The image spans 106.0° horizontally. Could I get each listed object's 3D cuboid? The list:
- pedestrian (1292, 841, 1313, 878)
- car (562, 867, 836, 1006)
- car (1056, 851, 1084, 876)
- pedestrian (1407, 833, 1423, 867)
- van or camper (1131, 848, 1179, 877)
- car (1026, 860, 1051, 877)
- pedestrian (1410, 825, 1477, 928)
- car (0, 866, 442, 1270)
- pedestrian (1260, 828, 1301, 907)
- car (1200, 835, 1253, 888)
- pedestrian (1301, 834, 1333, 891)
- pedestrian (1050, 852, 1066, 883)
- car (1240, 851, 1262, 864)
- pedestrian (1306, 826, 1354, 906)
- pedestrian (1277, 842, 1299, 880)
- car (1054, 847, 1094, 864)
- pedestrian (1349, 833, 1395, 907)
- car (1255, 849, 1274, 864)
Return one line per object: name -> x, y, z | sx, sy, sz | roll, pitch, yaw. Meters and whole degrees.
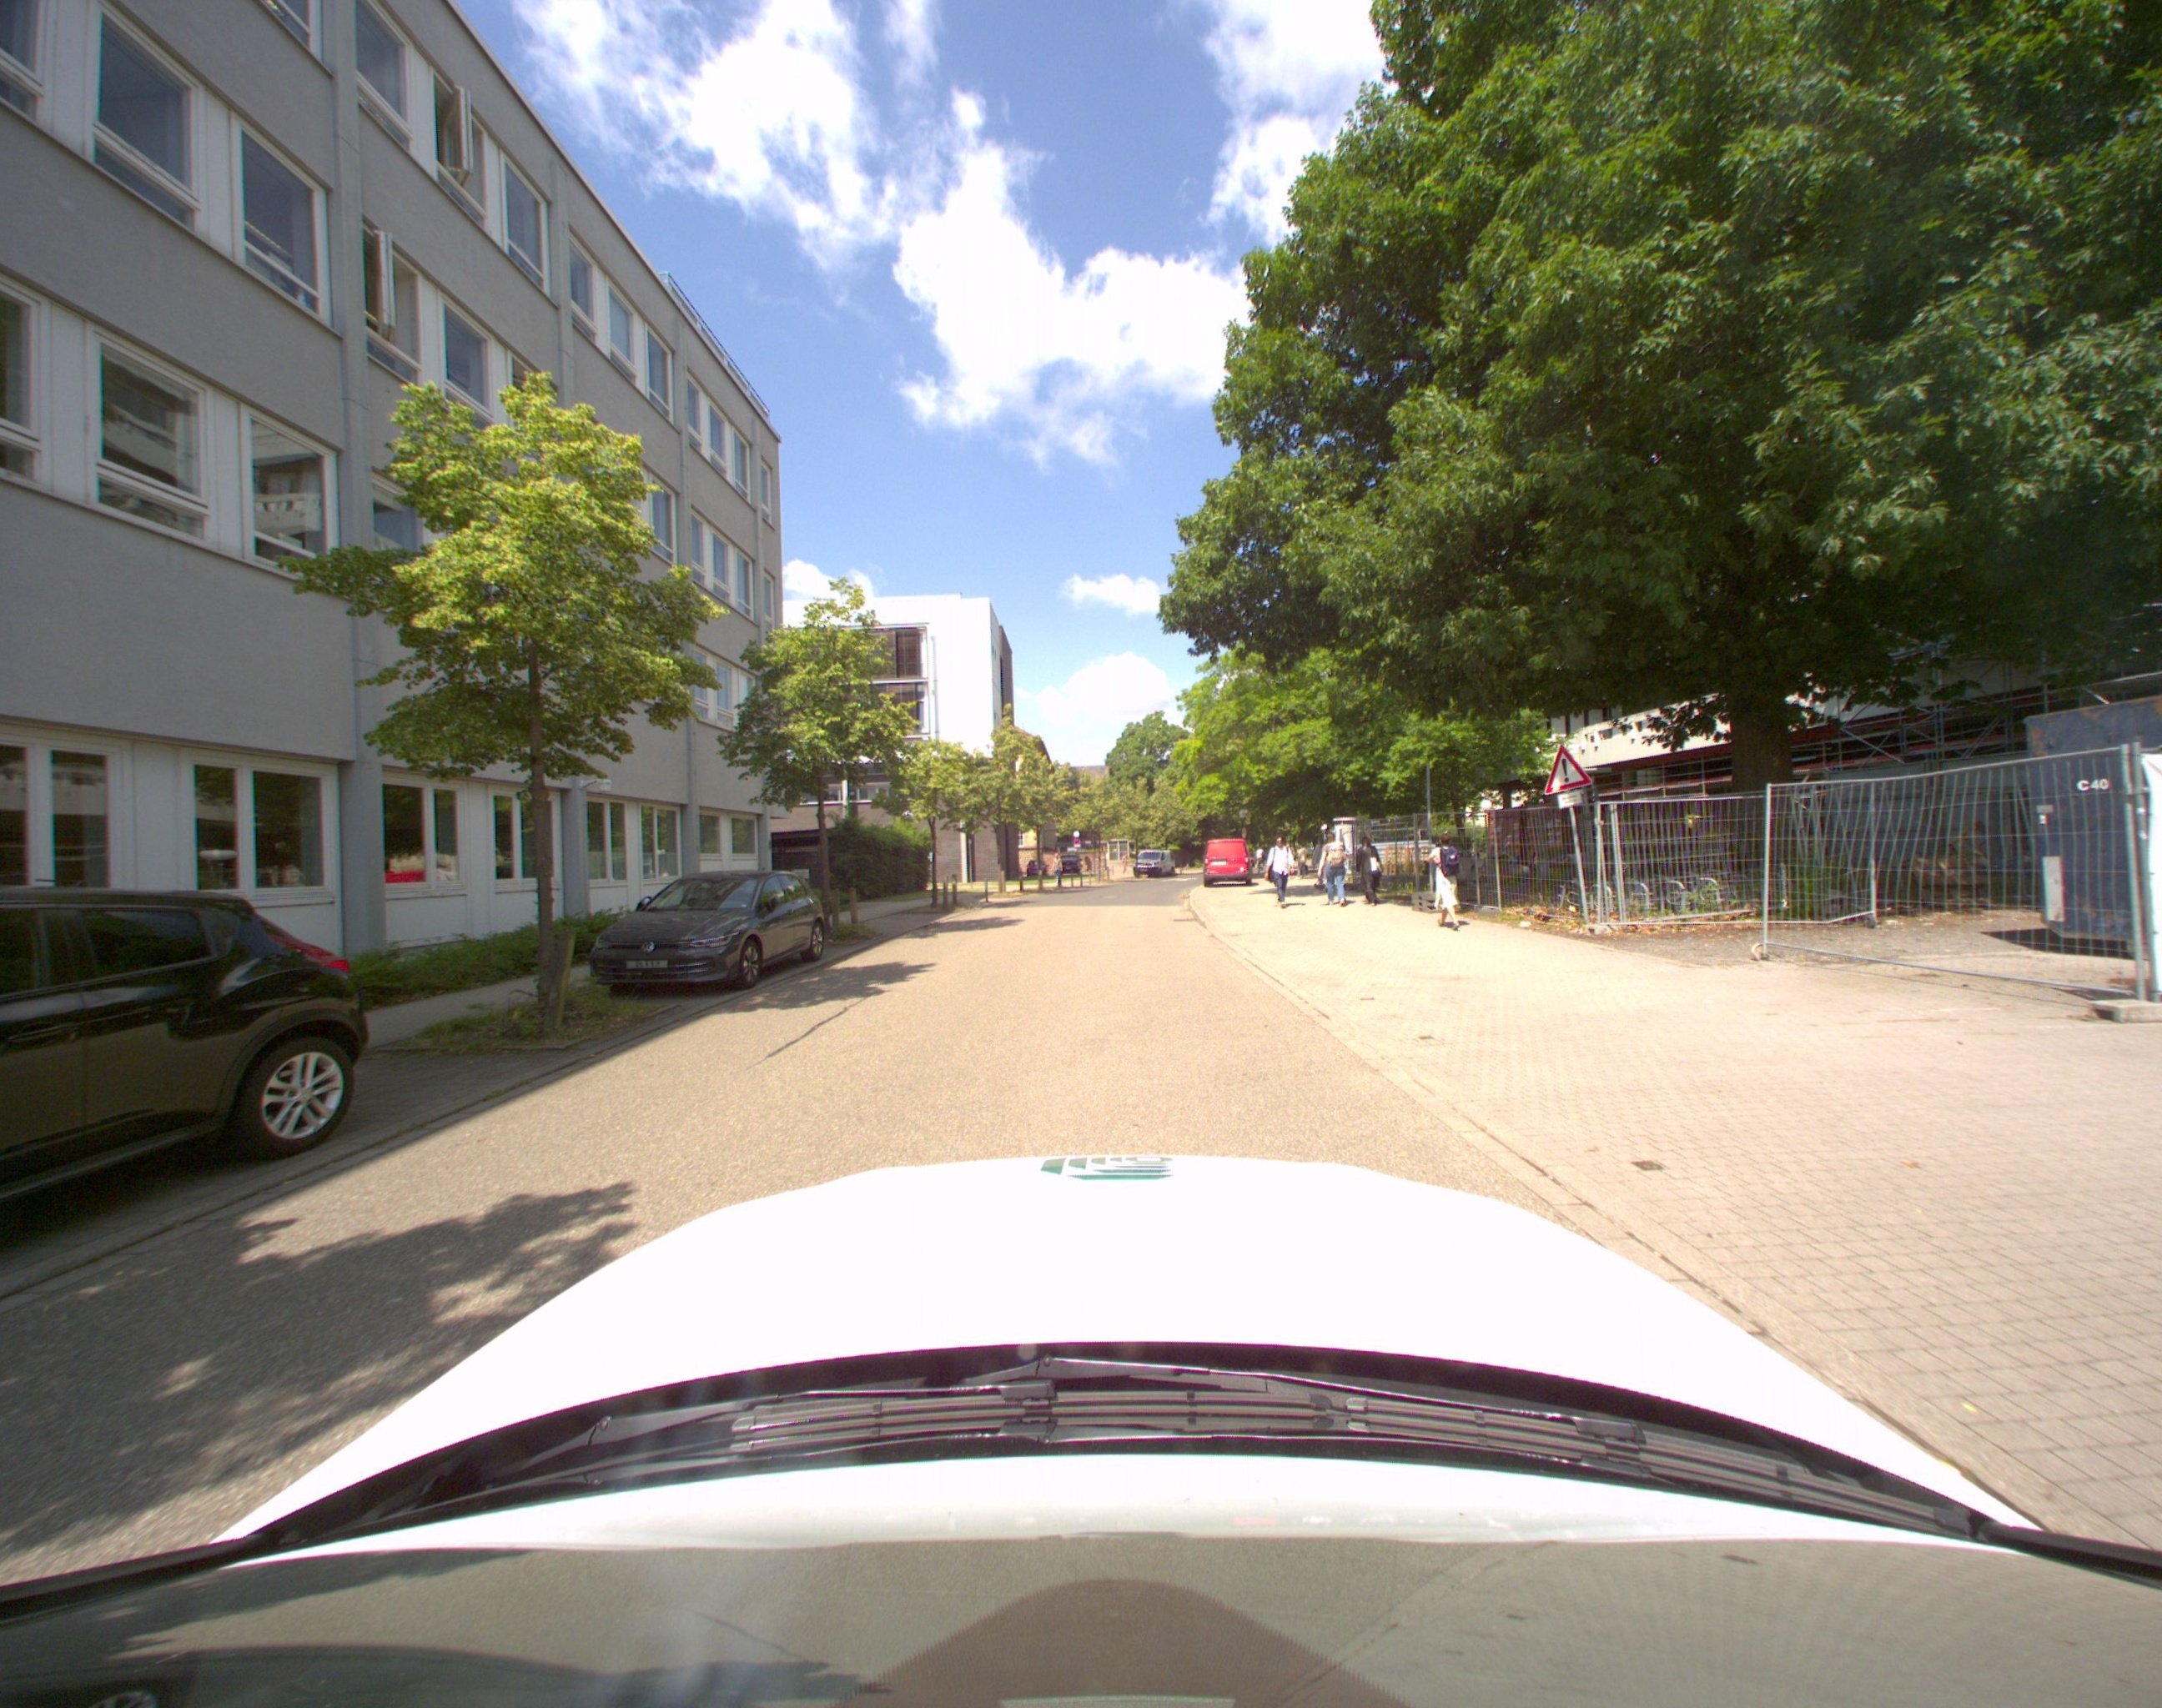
pedestrian -> 10.472, 0.267, 38.468 | 0.748, 1.710, 0.558 | -2, -1, -35
car -> -4.878, 0.946, 11.181 | 1.773, 1.461, 4.257 | -1, 0, -1
car -> -0.918, 0.788, 67.096 | 2.168, 1.926, 5.183 | -2, 0, -1
pedestrian -> 18.319, -0.229, 44.651 | 0.540, 1.837, 0.763 | -2, -1, 7
van or camper -> 5.419, 0.578, 58.944 | 1.937, 1.923, 5.448 | -1, 0, 21
car -> -3.481, 1.190, 67.217 | 1.811, 1.324, 3.767 | -2, 0, 0
pedestrian -> 6.146, 0.373, 13.846 | 0.647, 1.666, 0.904 | -3, -1, 0
car -> -5.133, 0.890, 3.407 | 1.692, 1.564, 4.066 | -2, 0, -1
pedestrian -> 4.634, 0.305, 18.971 | 0.692, 1.781, 0.787 | -3, -1, 2
car -> 5.790, 0.273, 32.235 | 1.836, 1.891, 4.905 | -3, 0, 11
pedestrian -> 6.935, 0.260, 23.913 | 0.706, 1.631, 0.716 | -3, -1, 30
pedestrian -> -1.326, 0.763, 46.832 | 0.579, 1.764, 0.915 | -2, -1, 16
car -> 18.947, 0.345, 90.702 | 1.602, 1.388, 4.021 | -2, 0, 22
pedestrian -> 5.709, 0.270, 18.710 | 0.846, 1.764, 0.716 | -3, -1, 4
pedestrian -> 9.998, 0.340, 39.309 | 0.727, 1.821, 0.623 | -2, -1, -35
car -> -0.760, 0.188, 93.395 | 4.166, 1.823, 1.989 | -2, -1, -16
pedestrian -> 6.544, 0.353, 18.355 | 0.665, 1.600, 0.986 | -3, -1, 4
car -> 22.250, 0.264, 98.788 | 1.602, 1.679, 4.021 | -2, 0, 22
